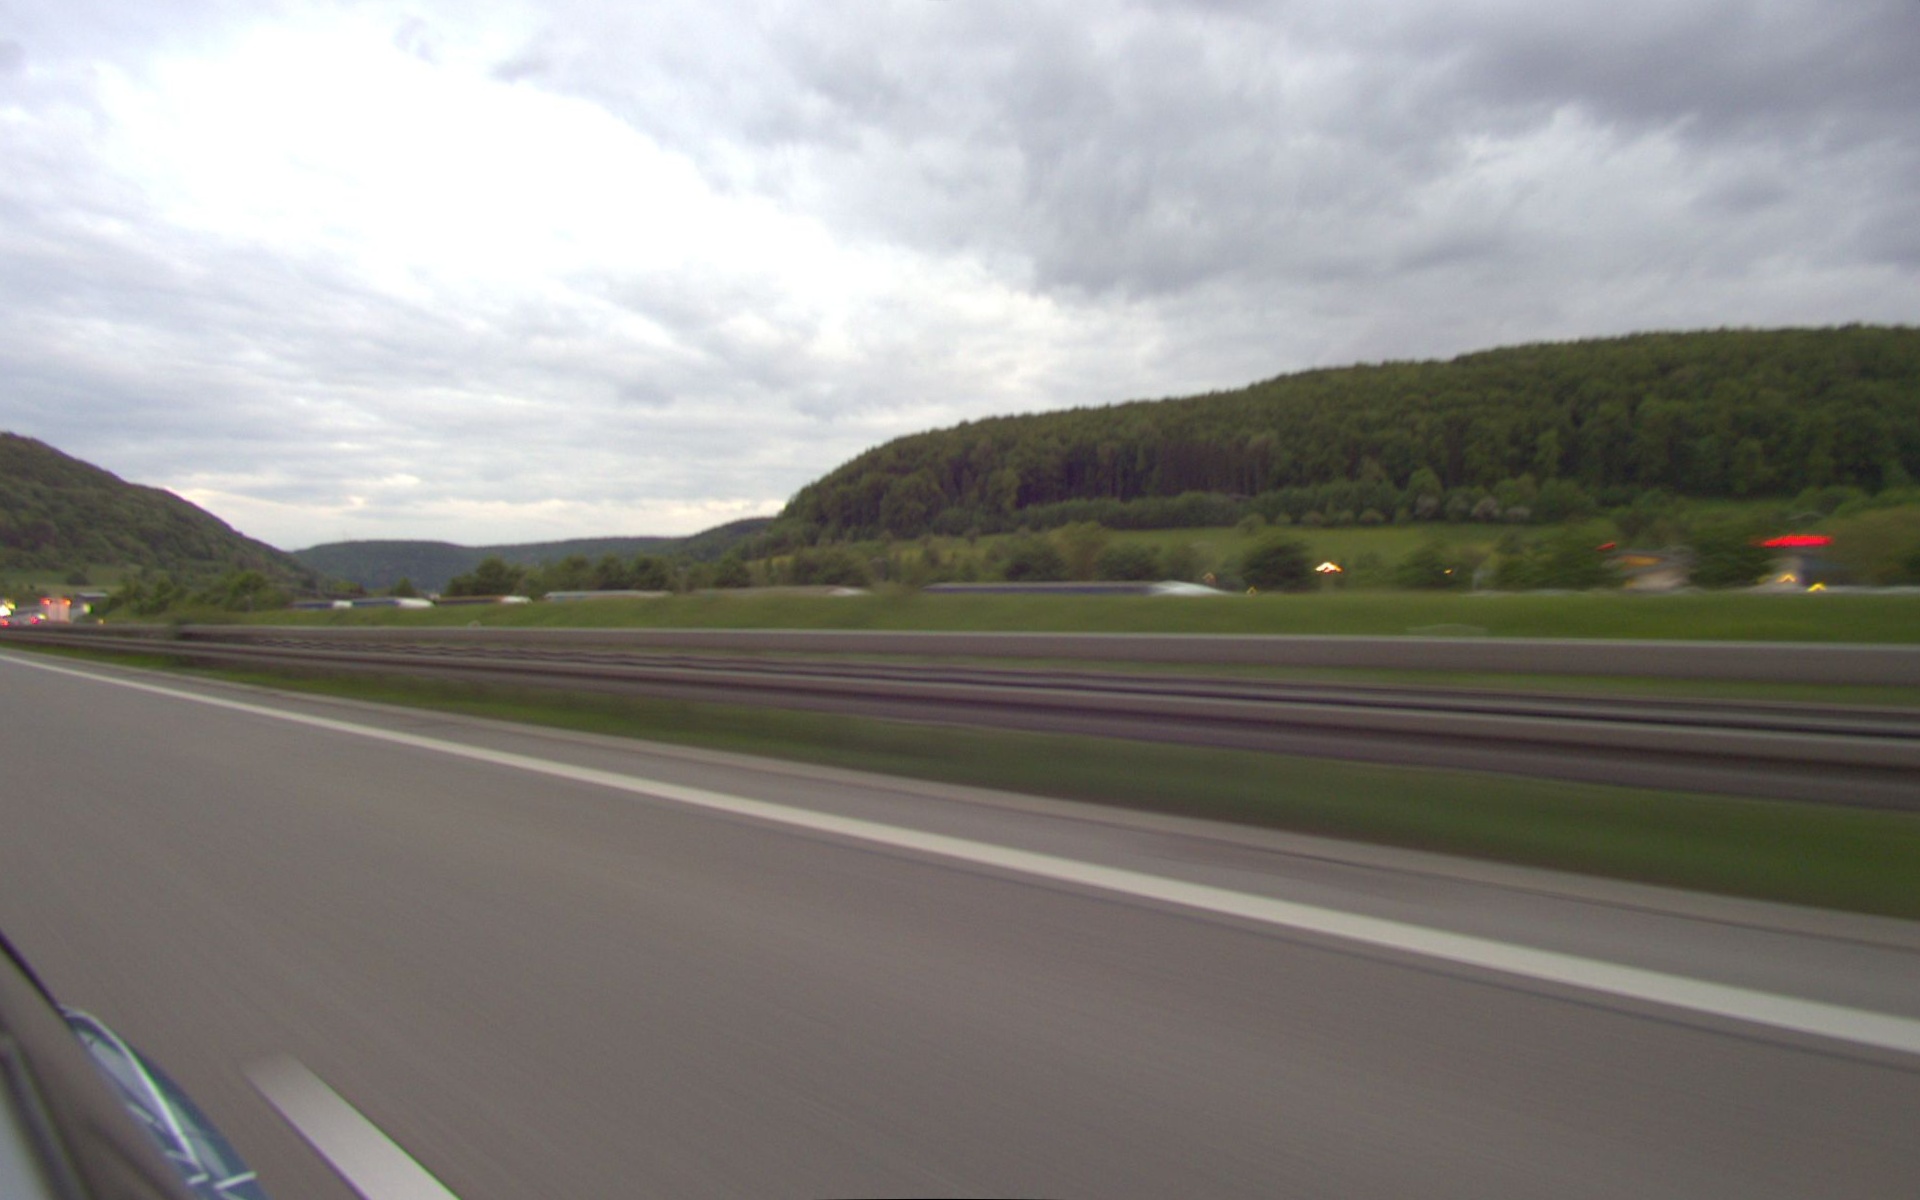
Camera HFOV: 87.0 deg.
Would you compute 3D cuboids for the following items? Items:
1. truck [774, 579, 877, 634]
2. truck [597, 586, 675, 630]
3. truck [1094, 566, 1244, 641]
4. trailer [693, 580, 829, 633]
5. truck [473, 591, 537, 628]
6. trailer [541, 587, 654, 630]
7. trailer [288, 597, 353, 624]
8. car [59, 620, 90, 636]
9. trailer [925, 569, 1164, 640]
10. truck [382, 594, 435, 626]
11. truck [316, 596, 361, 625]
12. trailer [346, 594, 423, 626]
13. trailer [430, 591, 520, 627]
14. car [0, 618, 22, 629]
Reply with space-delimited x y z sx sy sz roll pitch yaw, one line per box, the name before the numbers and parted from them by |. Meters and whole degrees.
truck | -8.001 0.382 59.847 5.890 3.112 2.837 -1 0 41
truck | -23.631 0.585 73.718 5.890 3.112 2.837 -1 0 41
truck | 9.187 0.159 44.869 5.890 3.112 2.837 -1 0 41
trailer | -12.722 0.443 64.019 10.152 3.112 2.837 -1 0 41
truck | -39.702 0.793 88.219 5.890 3.112 2.837 -1 0 41
trailer | -27.922 0.640 77.501 11.808 3.112 2.837 -1 0 41
trailer | -75.881 1.262 119.887 13.348 3.112 2.837 -1 0 41
car | -86.380 2.697 98.711 4.132 1.512 1.831 -1 -2 42
trailer | 3.781 0.229 49.663 12.479 3.112 2.837 -1 0 41
truck | -55.888 1.003 102.542 5.839 3.112 2.837 -1 0 41
truck | -71.029 1.200 115.635 5.890 3.112 2.837 -1 0 41
trailer | -60.983 1.069 107.015 13.628 3.112 2.837 -1 0 41
trailer | -44.321 0.853 92.231 12.191 3.112 2.837 -1 0 41
car | -131.333 3.275 140.091 4.132 1.512 1.831 -1 -2 42
